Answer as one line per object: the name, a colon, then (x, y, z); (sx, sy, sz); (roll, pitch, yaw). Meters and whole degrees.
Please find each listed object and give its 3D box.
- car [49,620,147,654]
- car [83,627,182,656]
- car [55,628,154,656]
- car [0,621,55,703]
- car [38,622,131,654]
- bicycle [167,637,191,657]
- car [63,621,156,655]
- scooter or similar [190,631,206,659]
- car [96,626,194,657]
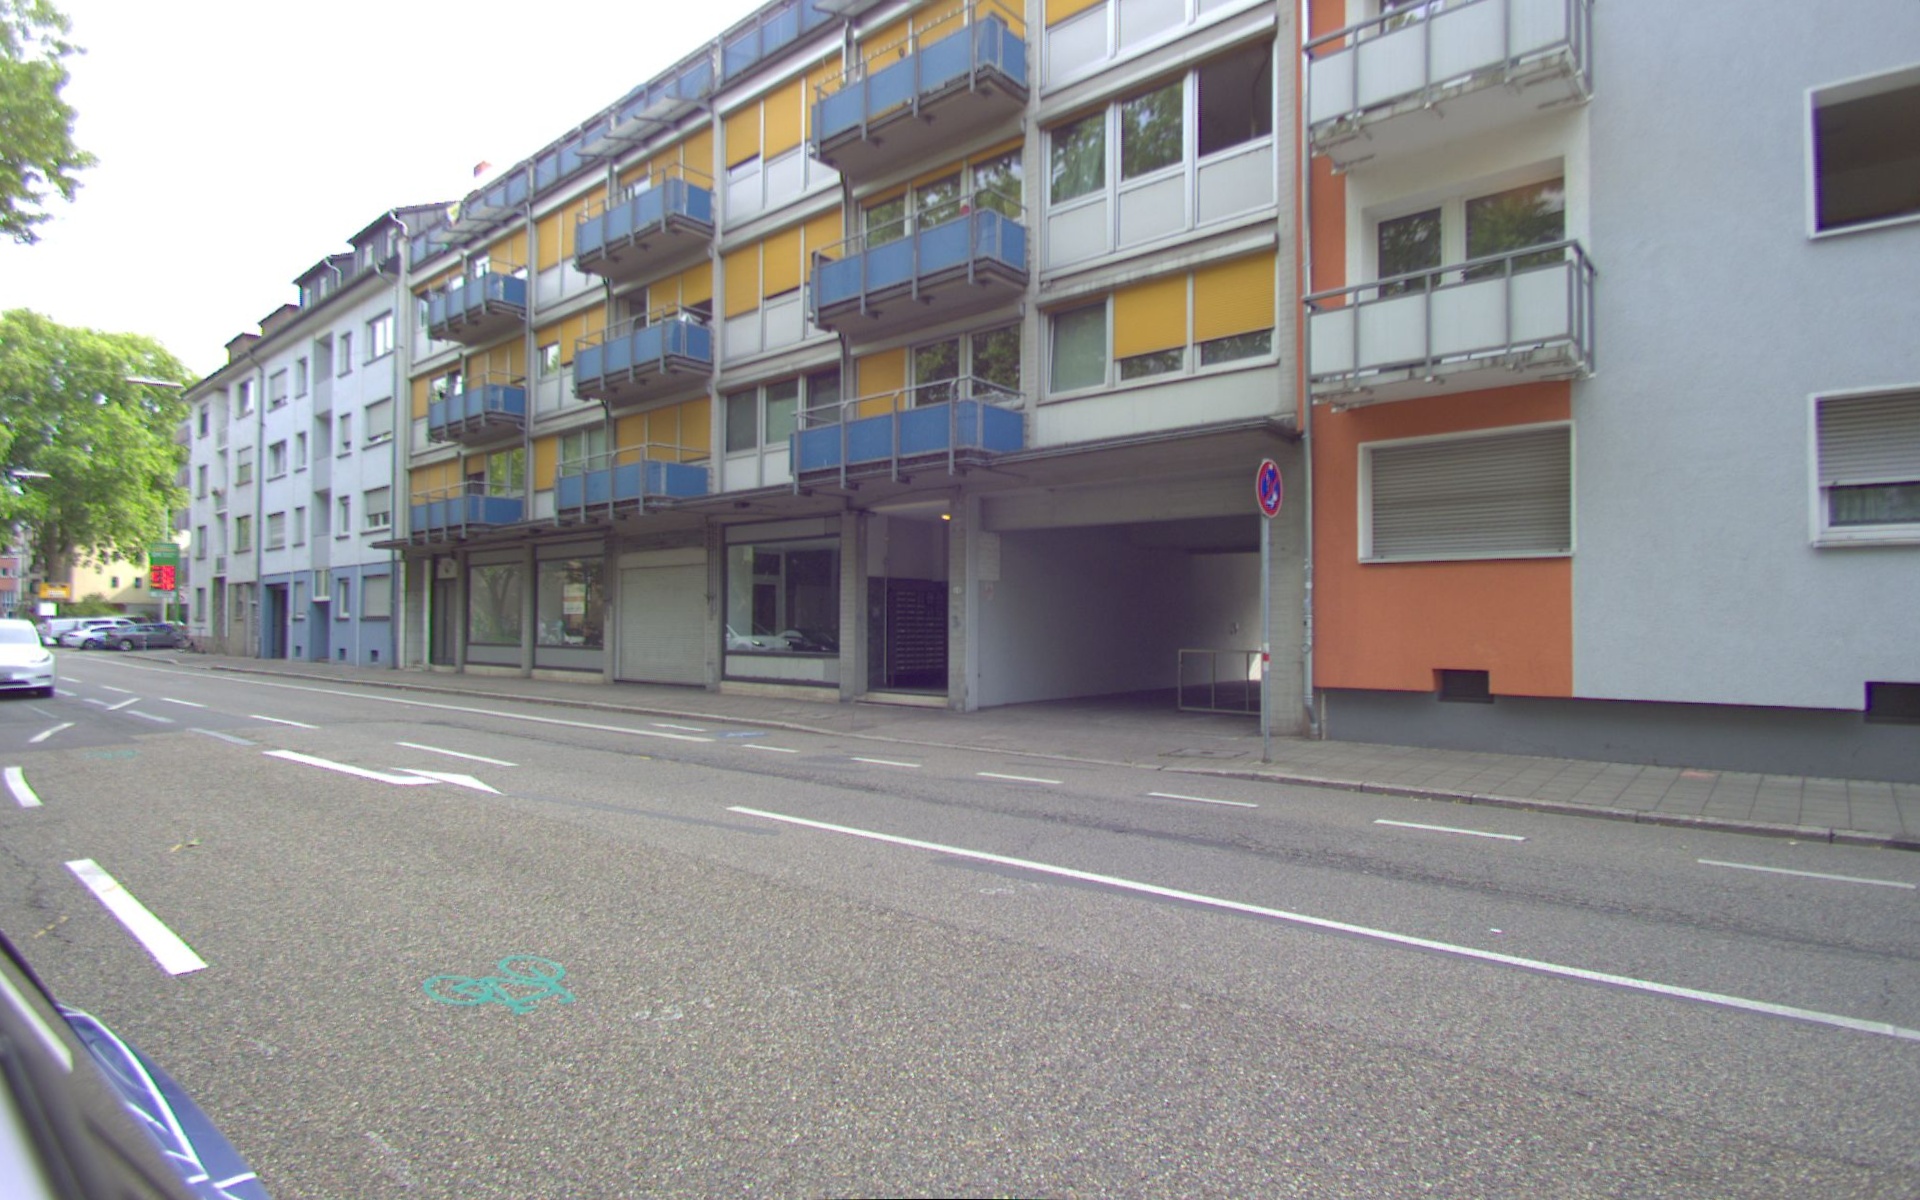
car: (-57.198, 2.431, 67.220); (1.993, 1.949, 4.716); (-2, 0, 42)
car: (-48.478, 2.411, 59.331); (1.910, 1.462, 4.255); (-2, 0, 42)
car: (-50.788, 2.472, 60.130); (1.873, 1.462, 4.226); (-2, 0, 42)
car: (-20.293, 1.232, 20.955); (4.552, 1.578, 1.973); (-1, -2, 44)
car: (-59.128, 2.527, 68.412); (1.950, 1.873, 4.567); (-2, 0, 42)
bicycle: (-37.105, 2.224, 48.085); (1.662, 0.957, 0.590); (-2, -1, 42)
car: (-52.404, 2.314, 62.418); (1.923, 1.862, 4.167); (-2, 0, 42)
scooter or similar: (-34.967, 2.053, 46.428); (1.201, 1.231, 0.346); (-2, -1, 42)
car: (-46.479, 2.329, 57.750); (1.837, 1.525, 4.107); (-2, 0, 42)
